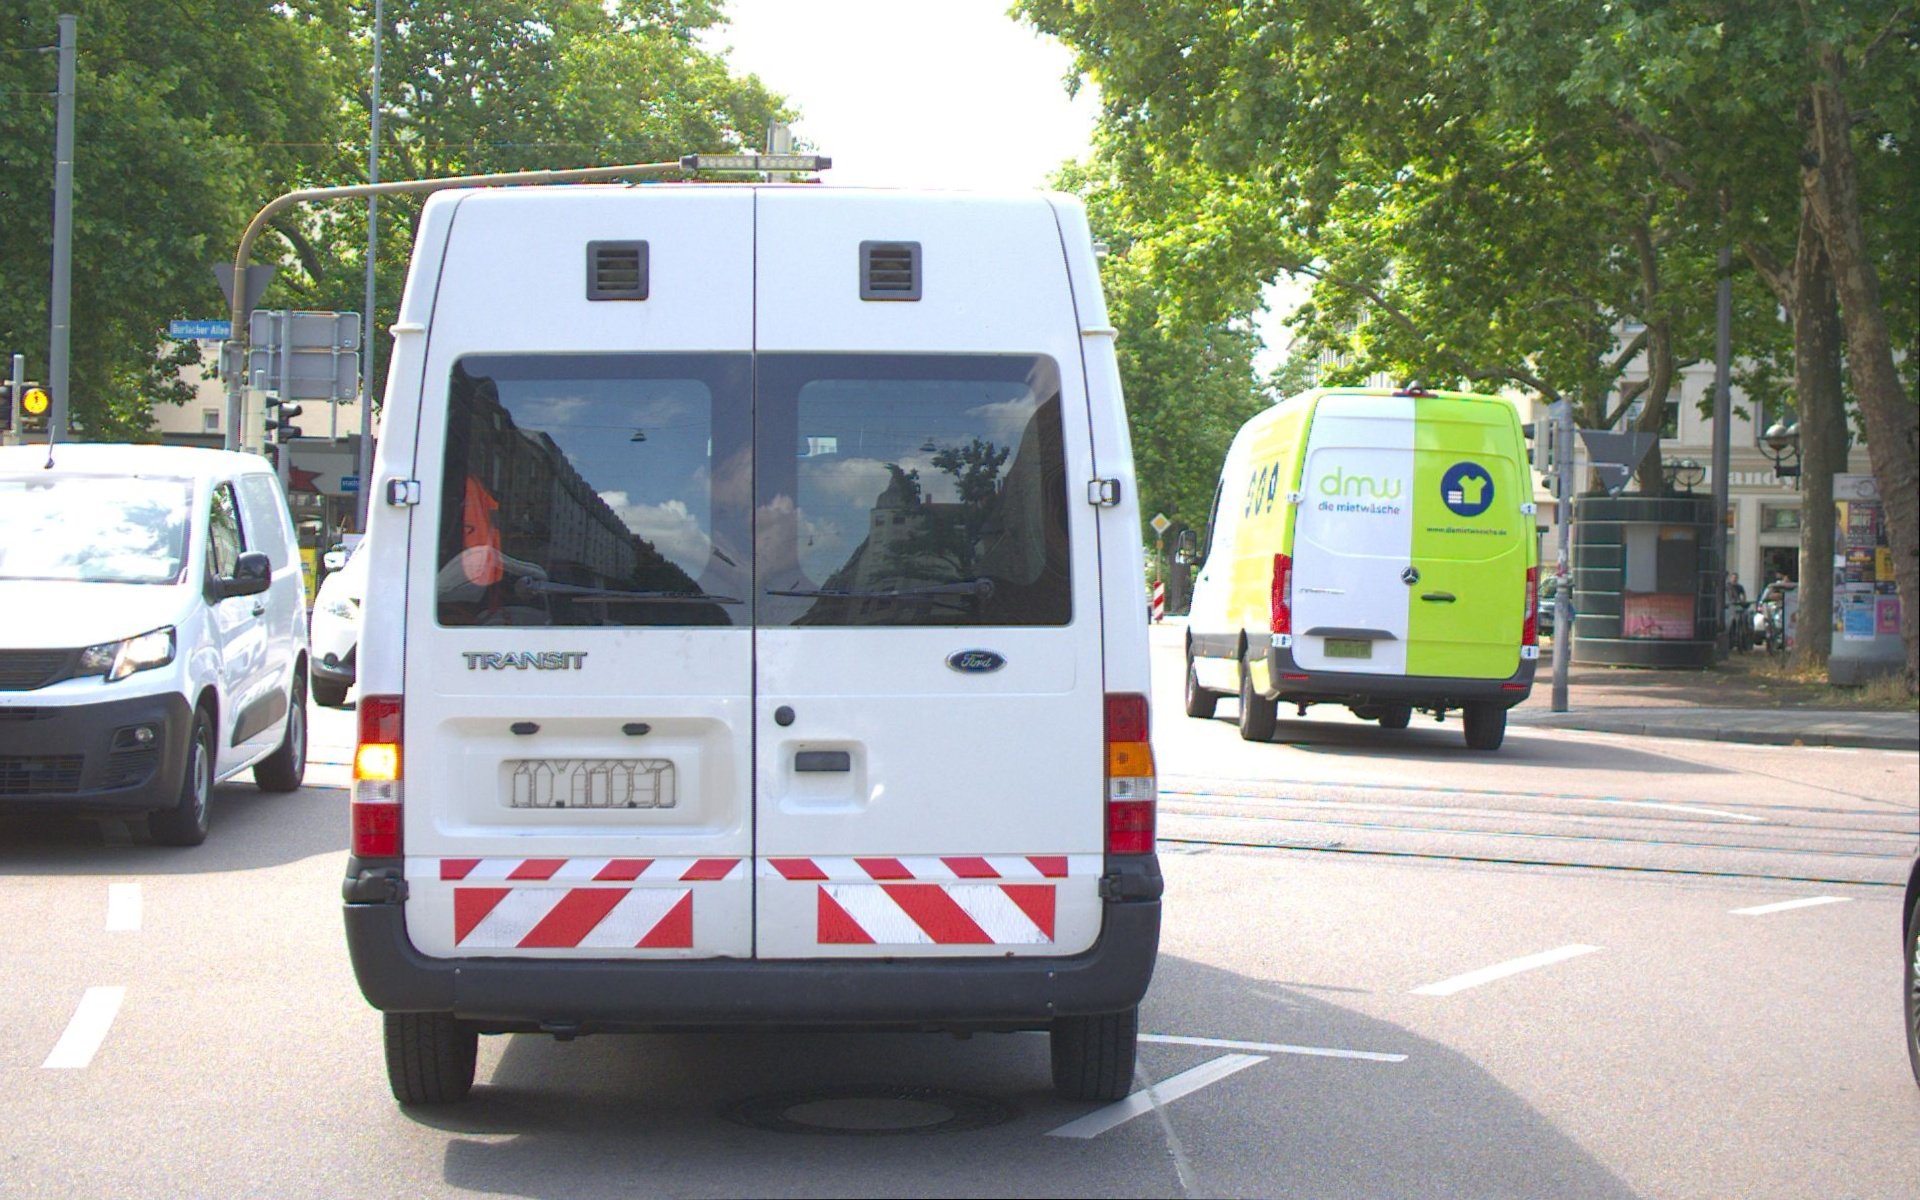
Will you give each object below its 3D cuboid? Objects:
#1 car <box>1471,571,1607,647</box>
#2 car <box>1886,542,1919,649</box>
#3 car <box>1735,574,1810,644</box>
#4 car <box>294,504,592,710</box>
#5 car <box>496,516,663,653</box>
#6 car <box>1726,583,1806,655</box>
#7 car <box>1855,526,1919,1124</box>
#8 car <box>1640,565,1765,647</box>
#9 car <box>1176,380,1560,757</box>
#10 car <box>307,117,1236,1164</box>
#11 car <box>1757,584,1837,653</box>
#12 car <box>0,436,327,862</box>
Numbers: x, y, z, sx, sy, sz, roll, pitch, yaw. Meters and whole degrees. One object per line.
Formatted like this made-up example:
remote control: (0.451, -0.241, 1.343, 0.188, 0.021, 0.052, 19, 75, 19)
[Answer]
car: (12.845, 0.197, 76.097, 2.030, 1.595, 4.533, 2, 0, 22)
car: (20.803, -0.071, 72.058, 1.996, 2.175, 4.252, 2, 0, 24)
car: (20.118, 0.220, 85.062, 1.467, 1.660, 3.064, 2, 0, 19)
car: (-4.229, -0.001, 28.681, 1.770, 1.577, 4.020, 0, 2, 2)
car: (-4.517, -0.217, 41.230, 1.747, 1.535, 3.932, -1, 1, -3)
car: (16.415, 0.383, 69.955, 1.466, 1.384, 3.065, 2, 0, 15)
car: (3.300, 0.624, 7.768, 1.692, 1.532, 3.468, 1, 1, 2)
car: (16.289, 0.132, 75.247, 1.907, 1.684, 4.533, 2, 0, 22)
car: (3.099, -0.282, 27.598, 2.119, 2.632, 6.329, 1, 1, -1)
car: (-0.529, 0.043, 10.132, 2.047, 2.325, 4.715, 1, 1, -3)
car: (17.952, 0.386, 73.715, 1.466, 1.384, 3.233, 2, 0, 17)
car: (-4.274, 0.128, 16.457, 1.812, 1.769, 4.284, 1, 2, -2)
